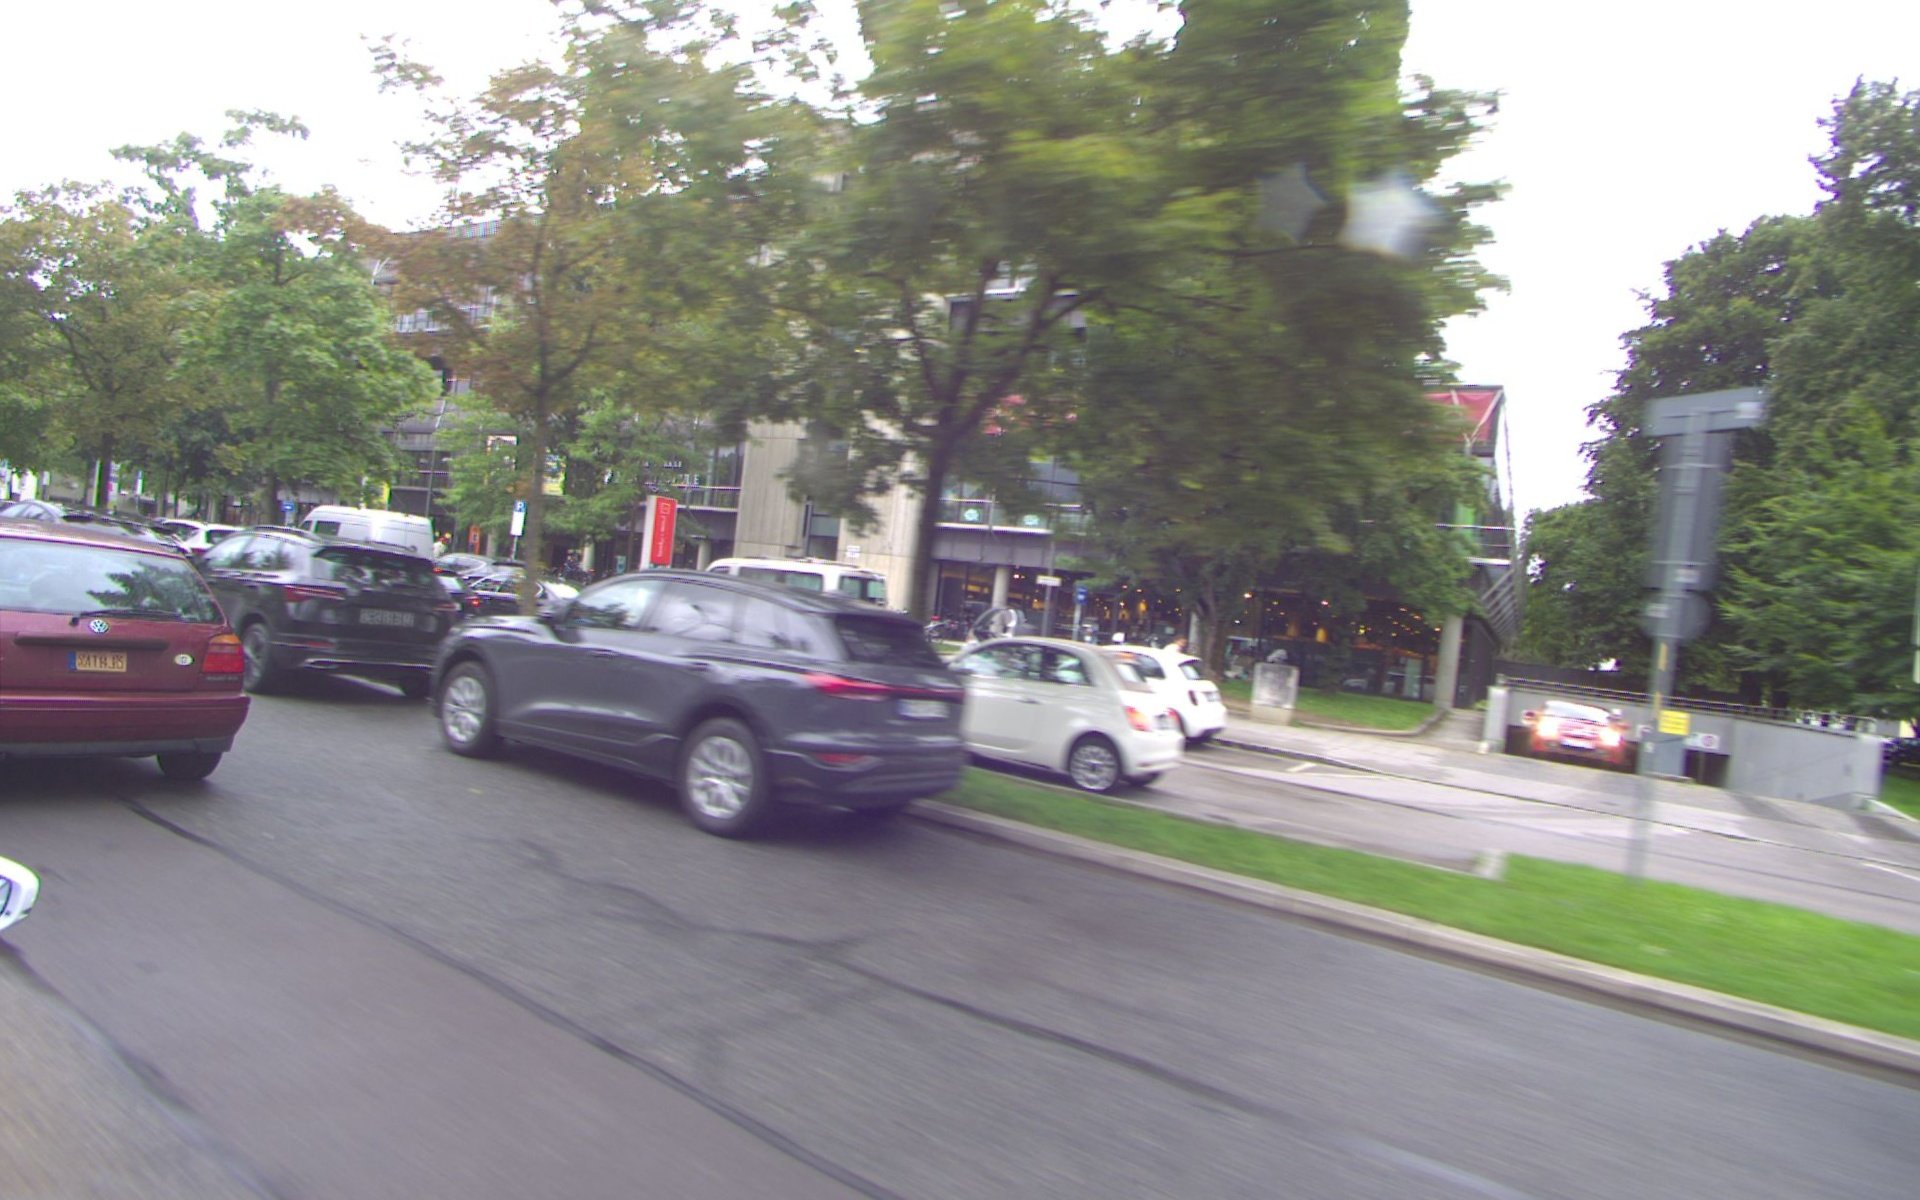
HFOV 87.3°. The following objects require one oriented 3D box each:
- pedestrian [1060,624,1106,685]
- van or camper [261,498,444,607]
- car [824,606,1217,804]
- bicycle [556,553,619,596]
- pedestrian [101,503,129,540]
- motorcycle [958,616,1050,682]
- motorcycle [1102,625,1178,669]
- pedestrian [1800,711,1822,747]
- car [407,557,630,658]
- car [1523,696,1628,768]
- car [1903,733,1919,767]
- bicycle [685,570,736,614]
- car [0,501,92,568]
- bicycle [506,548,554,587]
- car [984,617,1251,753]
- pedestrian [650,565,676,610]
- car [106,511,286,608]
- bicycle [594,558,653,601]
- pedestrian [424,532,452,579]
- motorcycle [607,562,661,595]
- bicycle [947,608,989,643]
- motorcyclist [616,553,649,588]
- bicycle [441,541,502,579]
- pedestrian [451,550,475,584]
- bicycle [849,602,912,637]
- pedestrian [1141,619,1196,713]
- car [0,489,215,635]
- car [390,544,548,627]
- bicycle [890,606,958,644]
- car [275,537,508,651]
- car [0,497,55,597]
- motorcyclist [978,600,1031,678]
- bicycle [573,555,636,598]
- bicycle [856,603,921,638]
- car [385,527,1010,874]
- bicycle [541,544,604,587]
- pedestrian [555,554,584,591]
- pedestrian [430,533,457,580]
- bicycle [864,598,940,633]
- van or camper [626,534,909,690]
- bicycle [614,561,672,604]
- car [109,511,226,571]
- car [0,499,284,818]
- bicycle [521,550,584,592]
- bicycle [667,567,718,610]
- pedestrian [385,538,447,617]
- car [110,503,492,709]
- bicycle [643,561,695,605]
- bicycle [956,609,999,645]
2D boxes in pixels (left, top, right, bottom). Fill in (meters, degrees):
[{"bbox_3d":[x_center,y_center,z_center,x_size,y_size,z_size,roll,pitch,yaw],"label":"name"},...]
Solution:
[{"bbox_3d":[2.828,1.249,23.077,0.687,1.308,0.731,6,2,36],"label":"pedestrian"},{"bbox_3d":[-18.031,-1.431,29.752,5.858,2.589,2.026,7,0,32],"label":"van or camper"},{"bbox_3d":[0.649,1.102,11.401,3.931,1.505,1.768,7,-2,29],"label":"car"},{"bbox_3d":[-15.729,-1.043,42.527,0.784,1.526,2.617,7,0,23],"label":"bicycle"},{"bbox_3d":[-42.375,-3.937,50.455,0.690,1.727,0.748,7,1,32],"label":"pedestrian"},{"bbox_3d":[1.048,1.150,24.177,2.032,1.309,0.695,7,5,32],"label":"motorcycle"},{"bbox_3d":[6.299,1.643,35.226,2.335,1.245,0.870,7,2,25],"label":"motorcycle"},{"bbox_3d":[45.884,6.955,54.257,0.594,1.817,0.612,7,0,25],"label":"pedestrian"},{"bbox_3d":[-9.135,0.128,20.699,4.758,1.471,1.686,7,0,32],"label":"car"},{"bbox_3d":[12.933,2.724,21.307,1.534,1.165,3.449,7,-2,28],"label":"car"},{"bbox_3d":[50.305,7.864,51.143,1.964,1.613,4.455,7,-1,24],"label":"car"},{"bbox_3d":[-9.733,-0.302,39.397,0.783,1.526,2.620,7,0,10],"label":"bicycle"},{"bbox_3d":[-25.409,-1.856,27.196,4.658,1.471,1.685,7,-1,34],"label":"car"},{"bbox_3d":[-18.868,-1.409,44.220,0.783,1.526,2.619,7,0,2],"label":"bicycle"},{"bbox_3d":[2.675,1.397,17.289,3.934,1.671,1.996,7,0,32],"label":"car"},{"bbox_3d":[-10.347,-0.424,35.031,0.668,1.495,0.396,7,1,39],"label":"pedestrian"},{"bbox_3d":[-16.412,-0.876,21.577,3.943,1.605,1.686,7,0,32],"label":"car"},{"bbox_3d":[-13.948,-0.842,41.748,0.783,1.526,2.619,7,0,18],"label":"bicycle"},{"bbox_3d":[-21.643,-1.830,41.747,0.668,1.852,0.559,7,1,21],"label":"pedestrian"},{"bbox_3d":[-15.155,-1.001,46.744,2.327,1.211,0.947,7,0,30],"label":"motorcycle"},{"bbox_3d":[0.337,1.012,39.328,0.577,1.219,2.141,7,-1,29],"label":"bicycle"},{"bbox_3d":[-15.227,-1.369,46.798,0.968,1.495,0.943,7,1,30],"label":"motorcyclist"},{"bbox_3d":[-23.502,-1.912,48.475,0.784,1.526,2.616,7,0,25],"label":"bicycle"},{"bbox_3d":[-20.819,-1.369,42.117,0.541,1.330,0.559,7,0,21],"label":"pedestrian"},{"bbox_3d":[-2.820,0.698,35.644,2.020,0.969,0.743,7,0,-22],"label":"bicycle"},{"bbox_3d":[4.187,1.325,20.186,0.720,1.773,0.575,7,0,36],"label":"pedestrian"},{"bbox_3d":[-12.780,-0.621,14.415,4.350,1.671,1.767,7,-1,31],"label":"car"},{"bbox_3d":[-13.017,-0.393,26.628,3.941,1.684,1.751,7,0,30],"label":"car"},{"bbox_3d":[-1.163,0.820,32.565,2.015,0.969,0.744,7,0,-15],"label":"bicycle"},{"bbox_3d":[-10.113,-0.120,17.840,3.941,1.497,1.751,7,0,30],"label":"car"},{"bbox_3d":[-17.597,-1.117,17.289,4.350,1.565,1.767,7,-1,31],"label":"car"},{"bbox_3d":[1.065,0.913,24.155,0.937,1.762,0.690,7,5,32],"label":"motorcyclist"},{"bbox_3d":[-14.889,-0.956,42.200,0.784,1.526,2.617,7,0,23],"label":"bicycle"},{"bbox_3d":[-2.479,0.720,34.895,2.020,0.969,0.743,7,0,-22],"label":"bicycle"},{"bbox_3d":[-2.188,0.549,7.753,4.741,1.721,1.764,7,0,32],"label":"car"},{"bbox_3d":[-16.474,-1.455,42.876,0.784,1.526,2.617,7,0,23],"label":"bicycle"},{"bbox_3d":[-18.250,-1.274,47.051,0.955,1.599,0.689,7,0,32],"label":"pedestrian"},{"bbox_3d":[-21.815,-1.838,42.486,0.533,1.852,0.678,7,0,20],"label":"pedestrian"},{"bbox_3d":[-1.960,0.508,33.752,2.366,0.881,0.769,7,0,-15],"label":"bicycle"},{"bbox_3d":[-4.162,0.199,21.234,5.858,2.589,1.996,7,0,32],"label":"van or camper"},{"bbox_3d":[-13.051,-0.700,41.507,0.783,1.526,2.619,7,0,18],"label":"bicycle"},{"bbox_3d":[-28.488,-2.142,36.150,4.422,1.652,1.687,7,0,30],"label":"car"},{"bbox_3d":[-5.912,0.118,5.924,3.884,1.471,1.624,7,0,31],"label":"car"},{"bbox_3d":[-17.538,-1.230,43.360,0.784,1.526,2.617,7,0,23],"label":"bicycle"},{"bbox_3d":[-10.538,-0.432,39.723,0.783,1.526,2.620,7,0,10],"label":"bicycle"},{"bbox_3d":[-14.028,-0.586,25.937,0.888,1.873,0.877,7,-1,30],"label":"pedestrian"},{"bbox_3d":[-7.245,0.010,10.936,4.317,1.671,1.724,7,0,32],"label":"car"},{"bbox_3d":[-11.505,-0.651,39.891,0.783,1.526,2.620,7,0,10],"label":"bicycle"},{"bbox_3d":[0.688,1.048,38.732,0.577,1.219,2.141,7,-1,29],"label":"bicycle"}]
